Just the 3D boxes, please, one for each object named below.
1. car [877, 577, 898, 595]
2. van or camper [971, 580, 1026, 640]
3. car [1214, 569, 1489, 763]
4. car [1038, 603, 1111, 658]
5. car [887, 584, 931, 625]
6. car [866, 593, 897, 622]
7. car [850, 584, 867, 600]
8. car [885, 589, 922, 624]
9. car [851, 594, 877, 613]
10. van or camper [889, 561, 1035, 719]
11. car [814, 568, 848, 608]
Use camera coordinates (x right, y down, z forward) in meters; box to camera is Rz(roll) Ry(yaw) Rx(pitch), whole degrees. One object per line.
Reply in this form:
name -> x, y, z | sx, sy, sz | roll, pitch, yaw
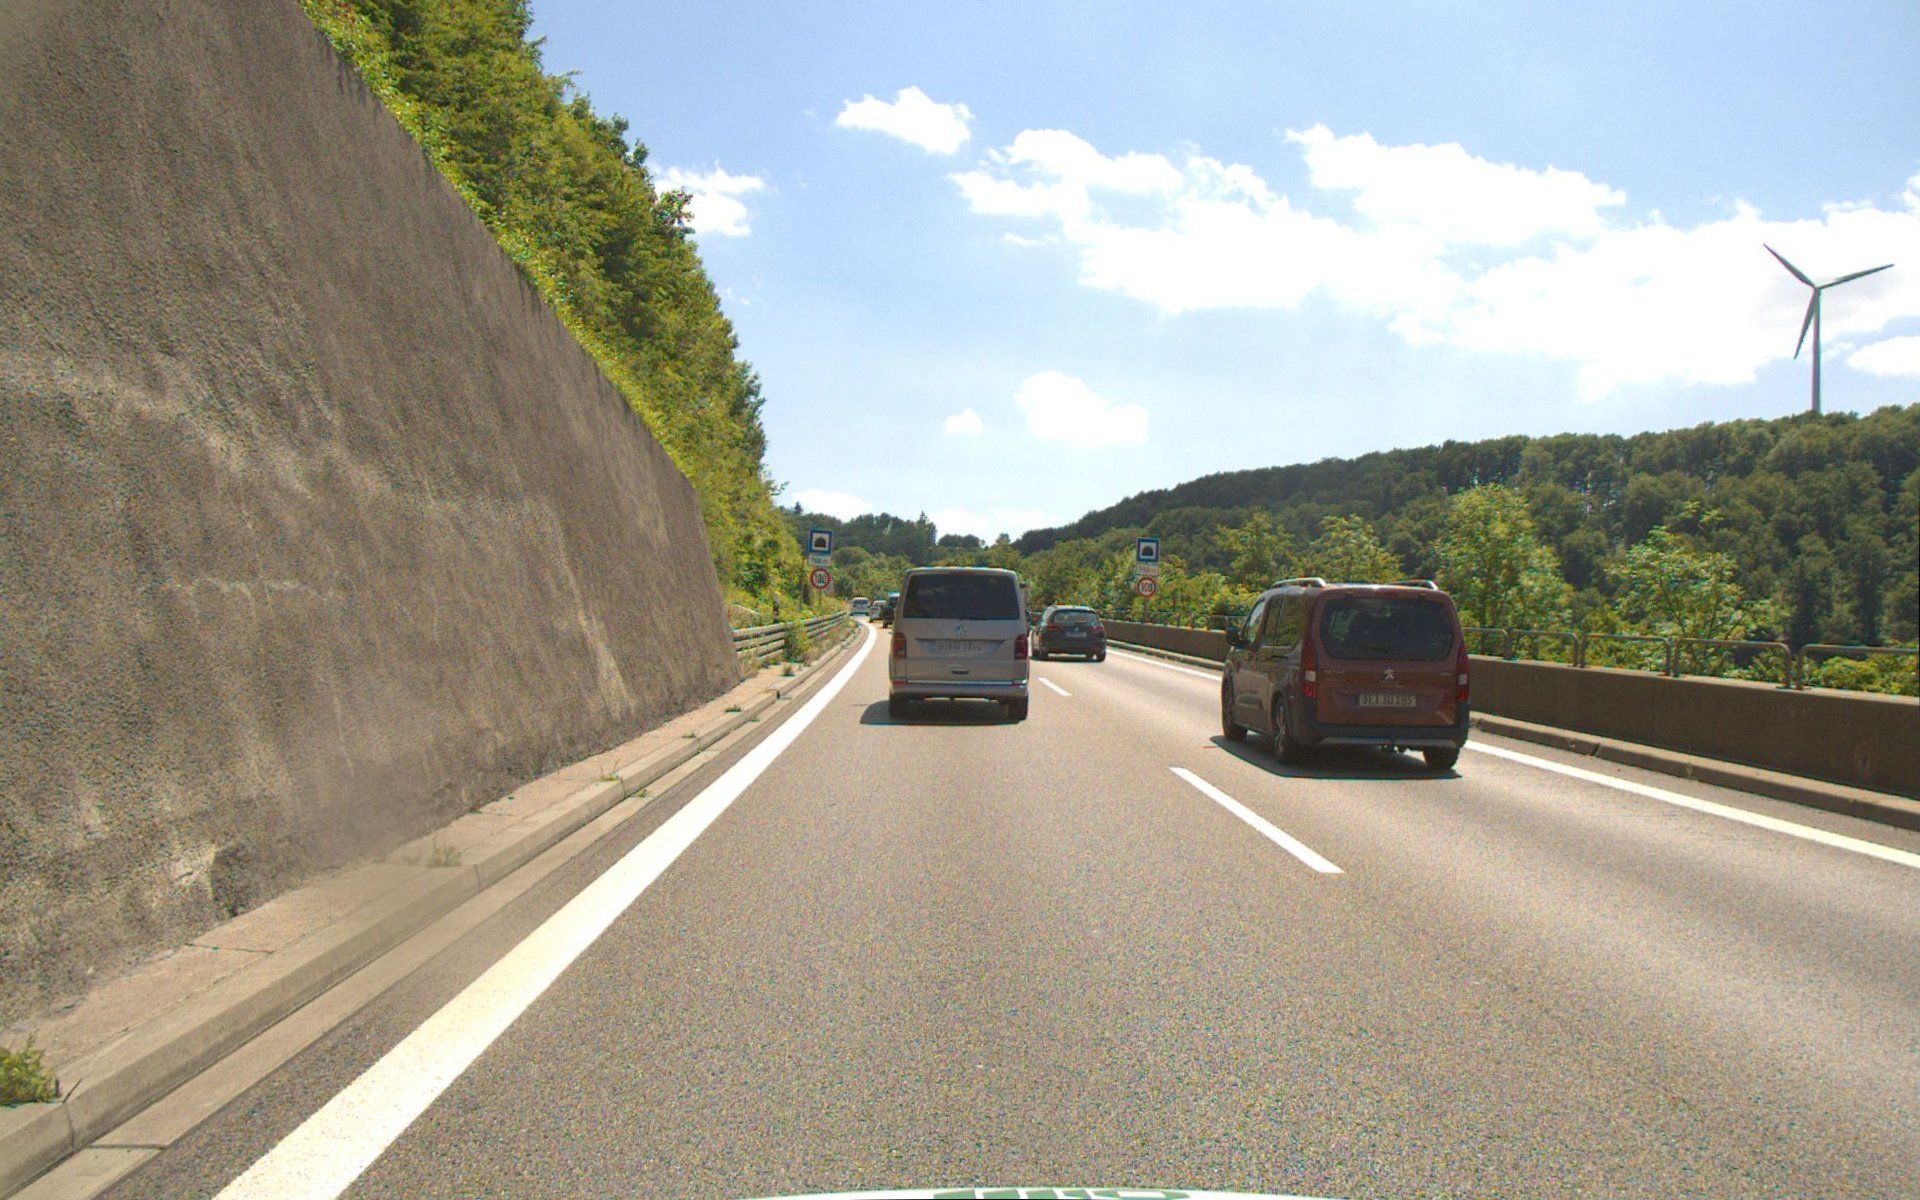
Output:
car -> -8.412, -1.653, 192.228 | 1.957, 2.049, 3.992 | 1, 0, -9
van or camper -> 1.709, 0.445, 75.137 | 2.218, 2.596, 4.735 | -1, 0, -1
car -> 4.033, 0.642, 17.863 | 1.796, 1.815, 4.674 | 0, -1, -1
car -> 3.076, 0.800, 45.109 | 1.732, 1.400, 3.592 | 1, 0, 0
car -> -2.402, 0.210, 76.759 | 1.954, 1.849, 3.997 | 1, 0, -3
car -> -5.296, 0.494, 111.505 | 1.954, 1.948, 3.996 | 1, 0, -5
car -> -12.704, -0.989, 207.227 | 1.955, 2.049, 3.995 | 1, 0, -6
car -> -3.178, 0.364, 91.725 | 1.954, 1.849, 3.997 | 1, 0, -3
car -> -8.470, 0.324, 145.307 | 2.101, 1.635, 5.071 | -1, -1, -6
van or camper -> -0.028, 0.511, 23.008 | 1.838, 1.983, 4.292 | 0, 0, -2
car -> -16.503, -1.503, 211.116 | 3.965, 4.957, 10.096 | 1, 0, -6
